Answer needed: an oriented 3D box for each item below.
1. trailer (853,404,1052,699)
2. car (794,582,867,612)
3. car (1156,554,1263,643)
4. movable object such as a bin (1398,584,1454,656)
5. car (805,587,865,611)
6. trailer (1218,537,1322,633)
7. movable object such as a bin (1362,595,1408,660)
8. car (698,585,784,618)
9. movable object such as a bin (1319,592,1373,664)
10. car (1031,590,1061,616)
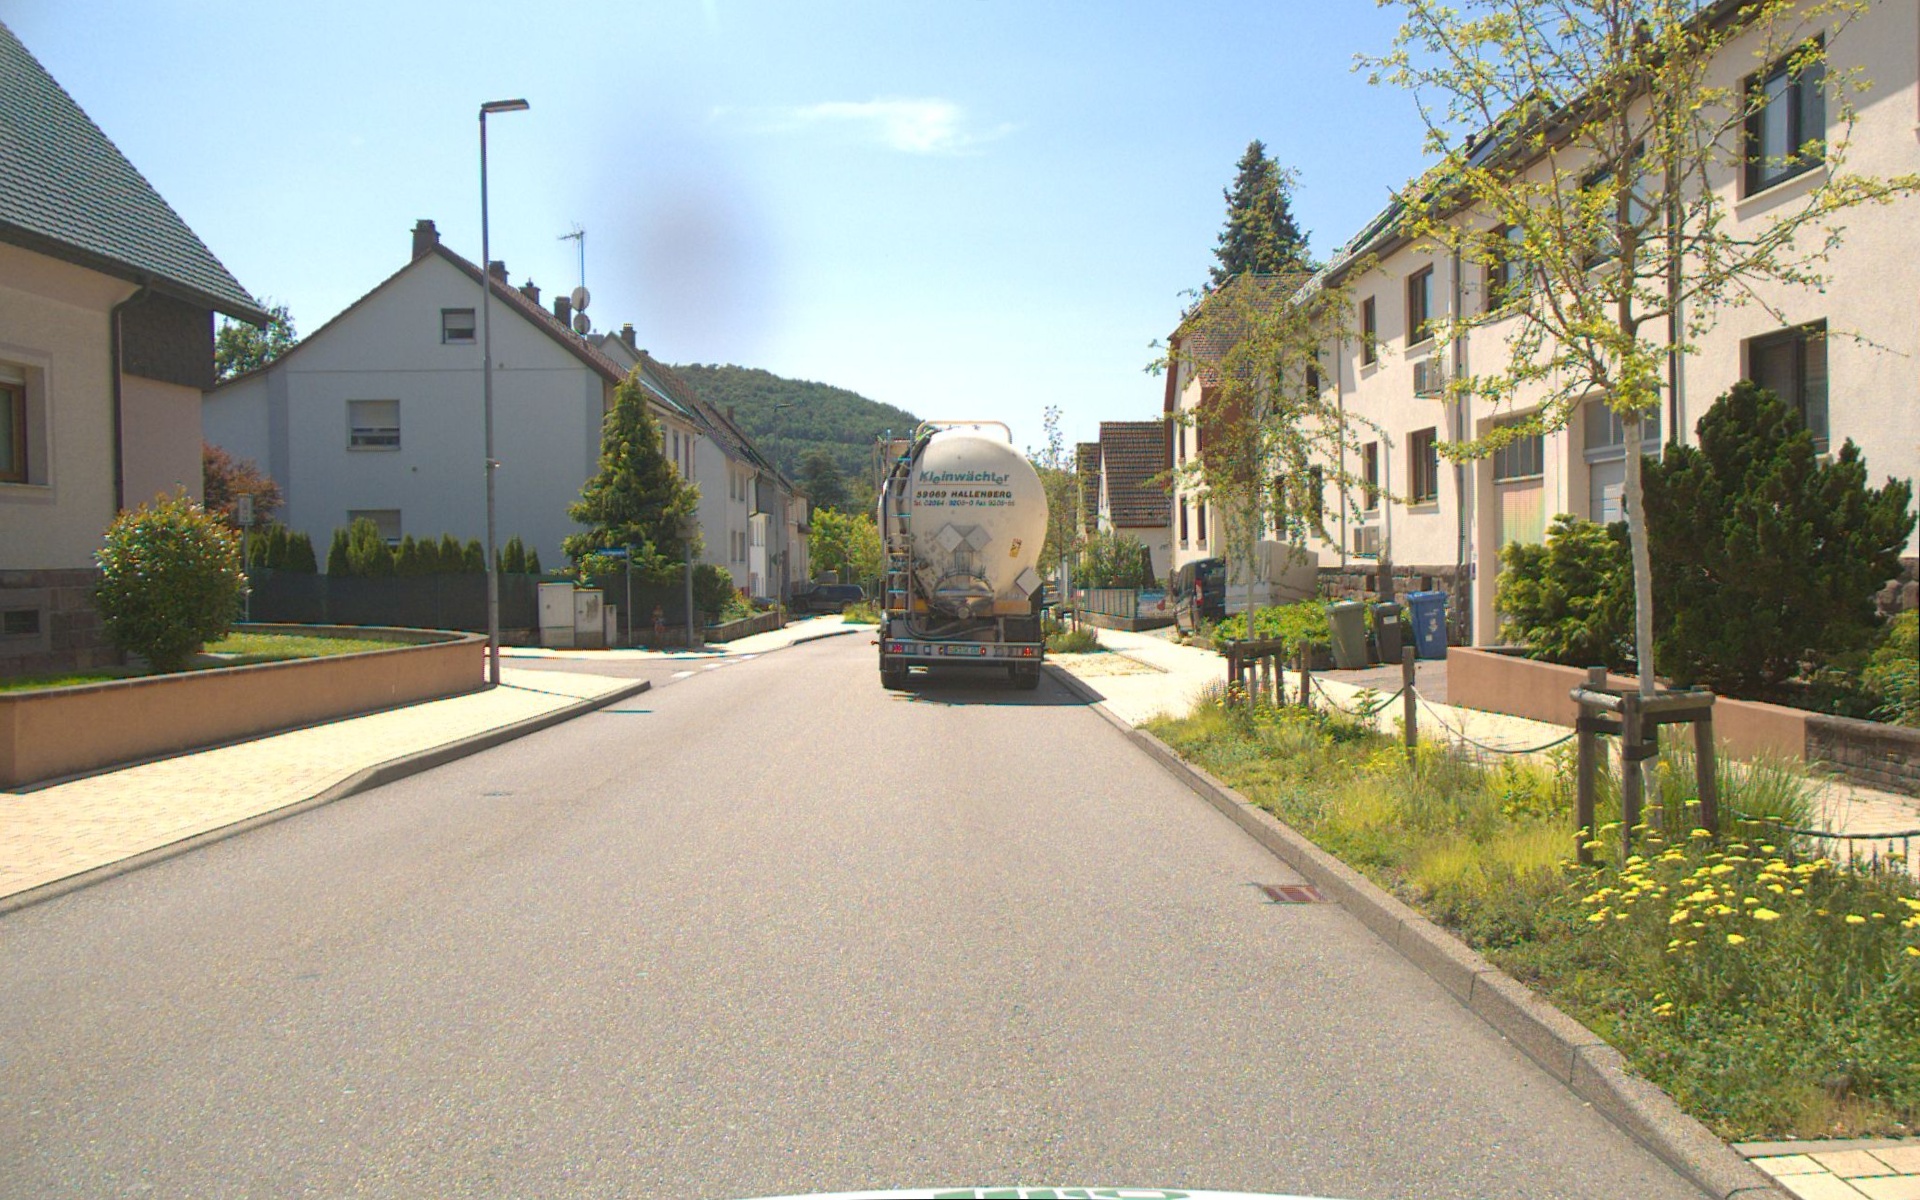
[{"bbox_3d":[-0.177,-0.726,28.095,2.739,4.070,10.322,0,1,-1],"label":"trailer"},{"bbox_3d":[-7.763,-0.180,99.361,4.305,1.781,1.877,0,0,-2],"label":"car"},{"bbox_3d":[6.165,-0.038,41.404,1.814,2.005,4.772,-3,0,-1],"label":"car"},{"bbox_3d":[7.700,0.319,27.364,0.670,1.125,0.863,-4,0,6],"label":"movable object such as a bin"},{"bbox_3d":[-7.827,-0.039,103.459,3.478,1.464,1.693,0,0,34],"label":"car"},{"bbox_3d":[6.868,-0.314,36.571,1.301,2.049,2.260,0,0,41],"label":"trailer"},{"bbox_3d":[7.036,0.448,27.401,0.546,1.003,0.803,-5,0,6],"label":"movable object such as a bin"},{"bbox_3d":[-10.639,0.053,80.556,3.905,1.572,1.832,0,0,0],"label":"car"},{"bbox_3d":[6.358,0.454,27.266,0.670,1.134,0.813,-4,-1,5],"label":"movable object such as a bin"},{"bbox_3d":[5.706,0.177,110.069,1.754,1.568,4.520,-3,0,1],"label":"car"}]
